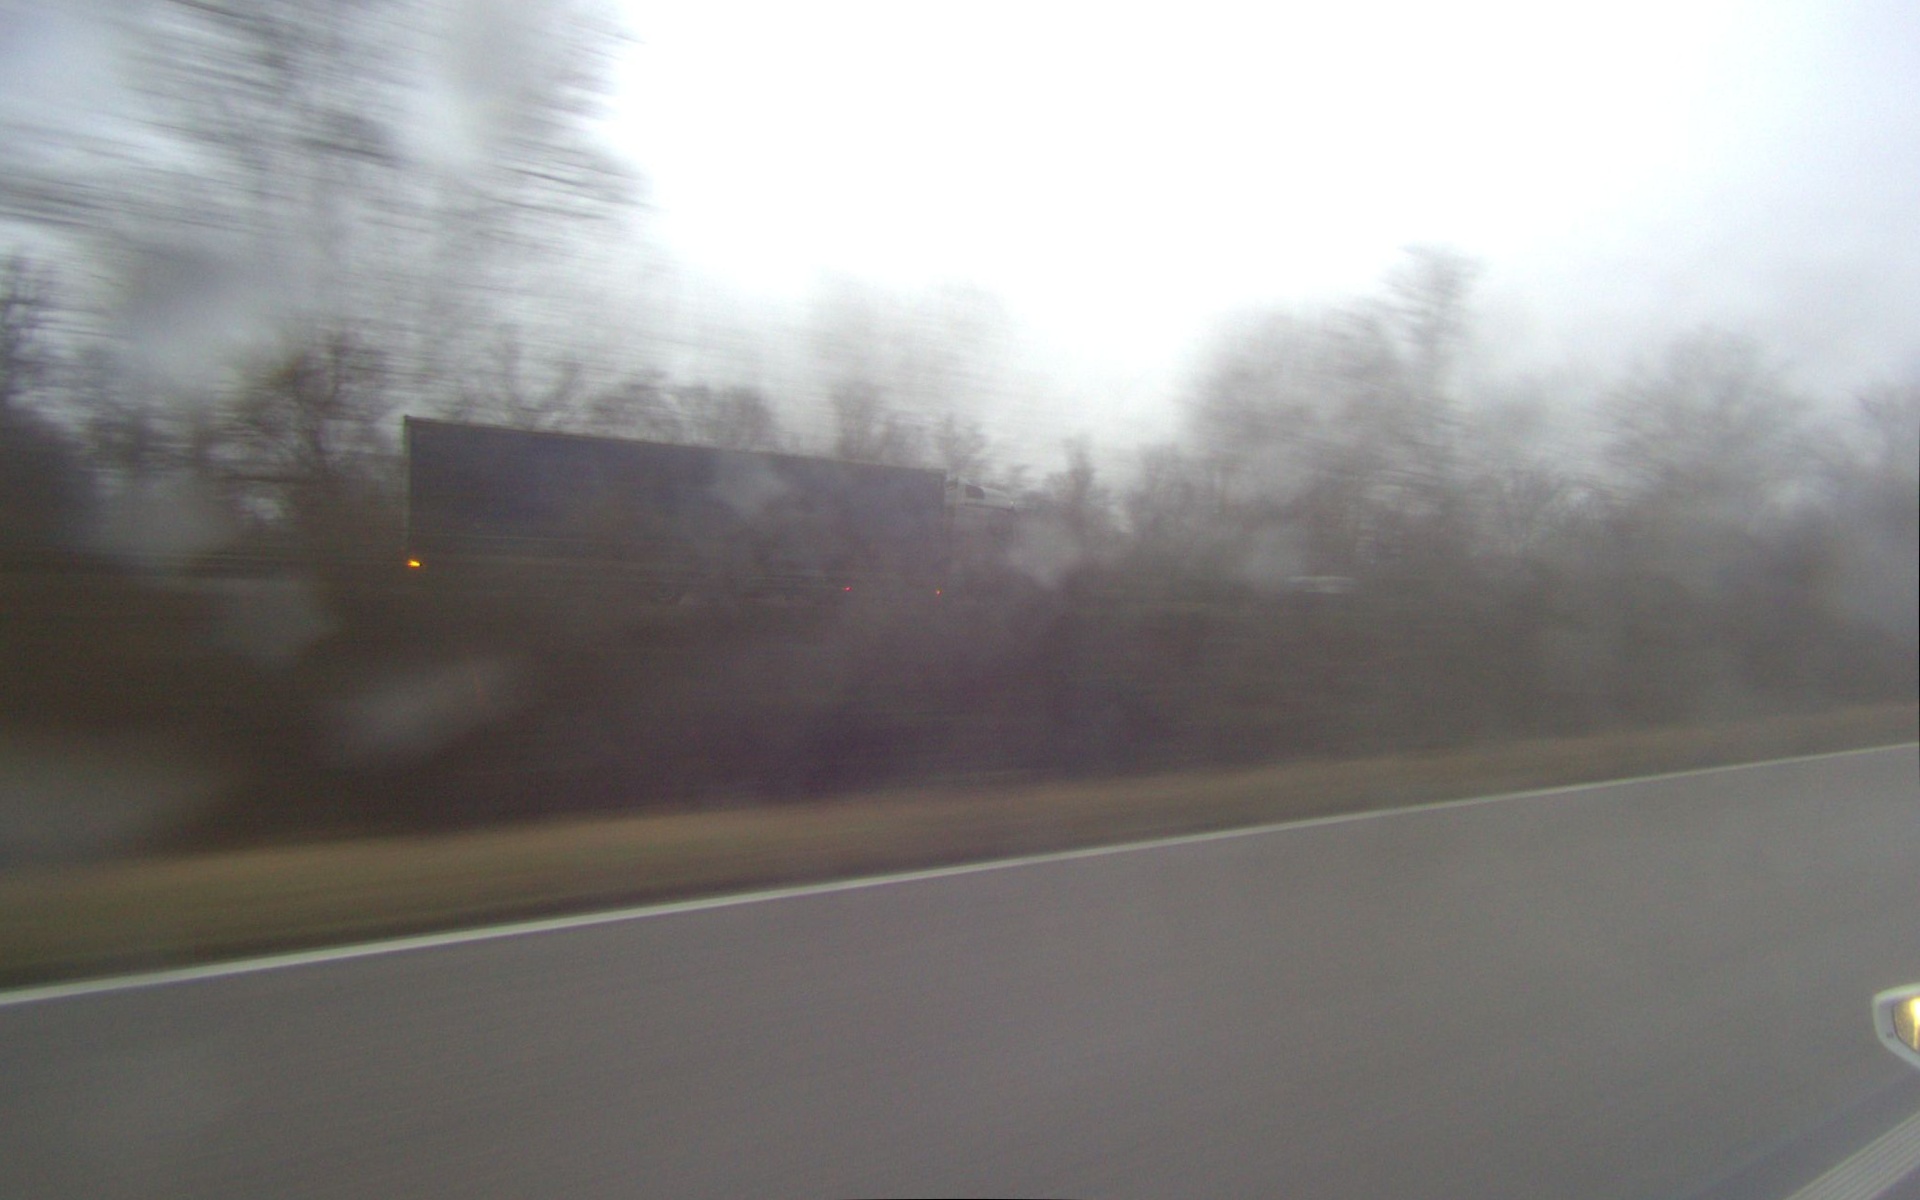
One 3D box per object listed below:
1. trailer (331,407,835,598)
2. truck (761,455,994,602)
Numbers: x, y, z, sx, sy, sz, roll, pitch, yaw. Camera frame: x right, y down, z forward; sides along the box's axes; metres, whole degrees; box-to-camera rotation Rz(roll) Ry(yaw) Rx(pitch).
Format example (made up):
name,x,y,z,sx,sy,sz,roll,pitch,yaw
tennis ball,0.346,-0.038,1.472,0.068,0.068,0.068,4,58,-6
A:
name,x,y,z,sx,sy,sz,roll,pitch,yaw
trailer,-8.901,-2.024,24.972,11.256,3.682,2.983,1,-1,-31
truck,-2.346,-1.851,28.929,5.997,3.680,2.977,1,-1,-31
